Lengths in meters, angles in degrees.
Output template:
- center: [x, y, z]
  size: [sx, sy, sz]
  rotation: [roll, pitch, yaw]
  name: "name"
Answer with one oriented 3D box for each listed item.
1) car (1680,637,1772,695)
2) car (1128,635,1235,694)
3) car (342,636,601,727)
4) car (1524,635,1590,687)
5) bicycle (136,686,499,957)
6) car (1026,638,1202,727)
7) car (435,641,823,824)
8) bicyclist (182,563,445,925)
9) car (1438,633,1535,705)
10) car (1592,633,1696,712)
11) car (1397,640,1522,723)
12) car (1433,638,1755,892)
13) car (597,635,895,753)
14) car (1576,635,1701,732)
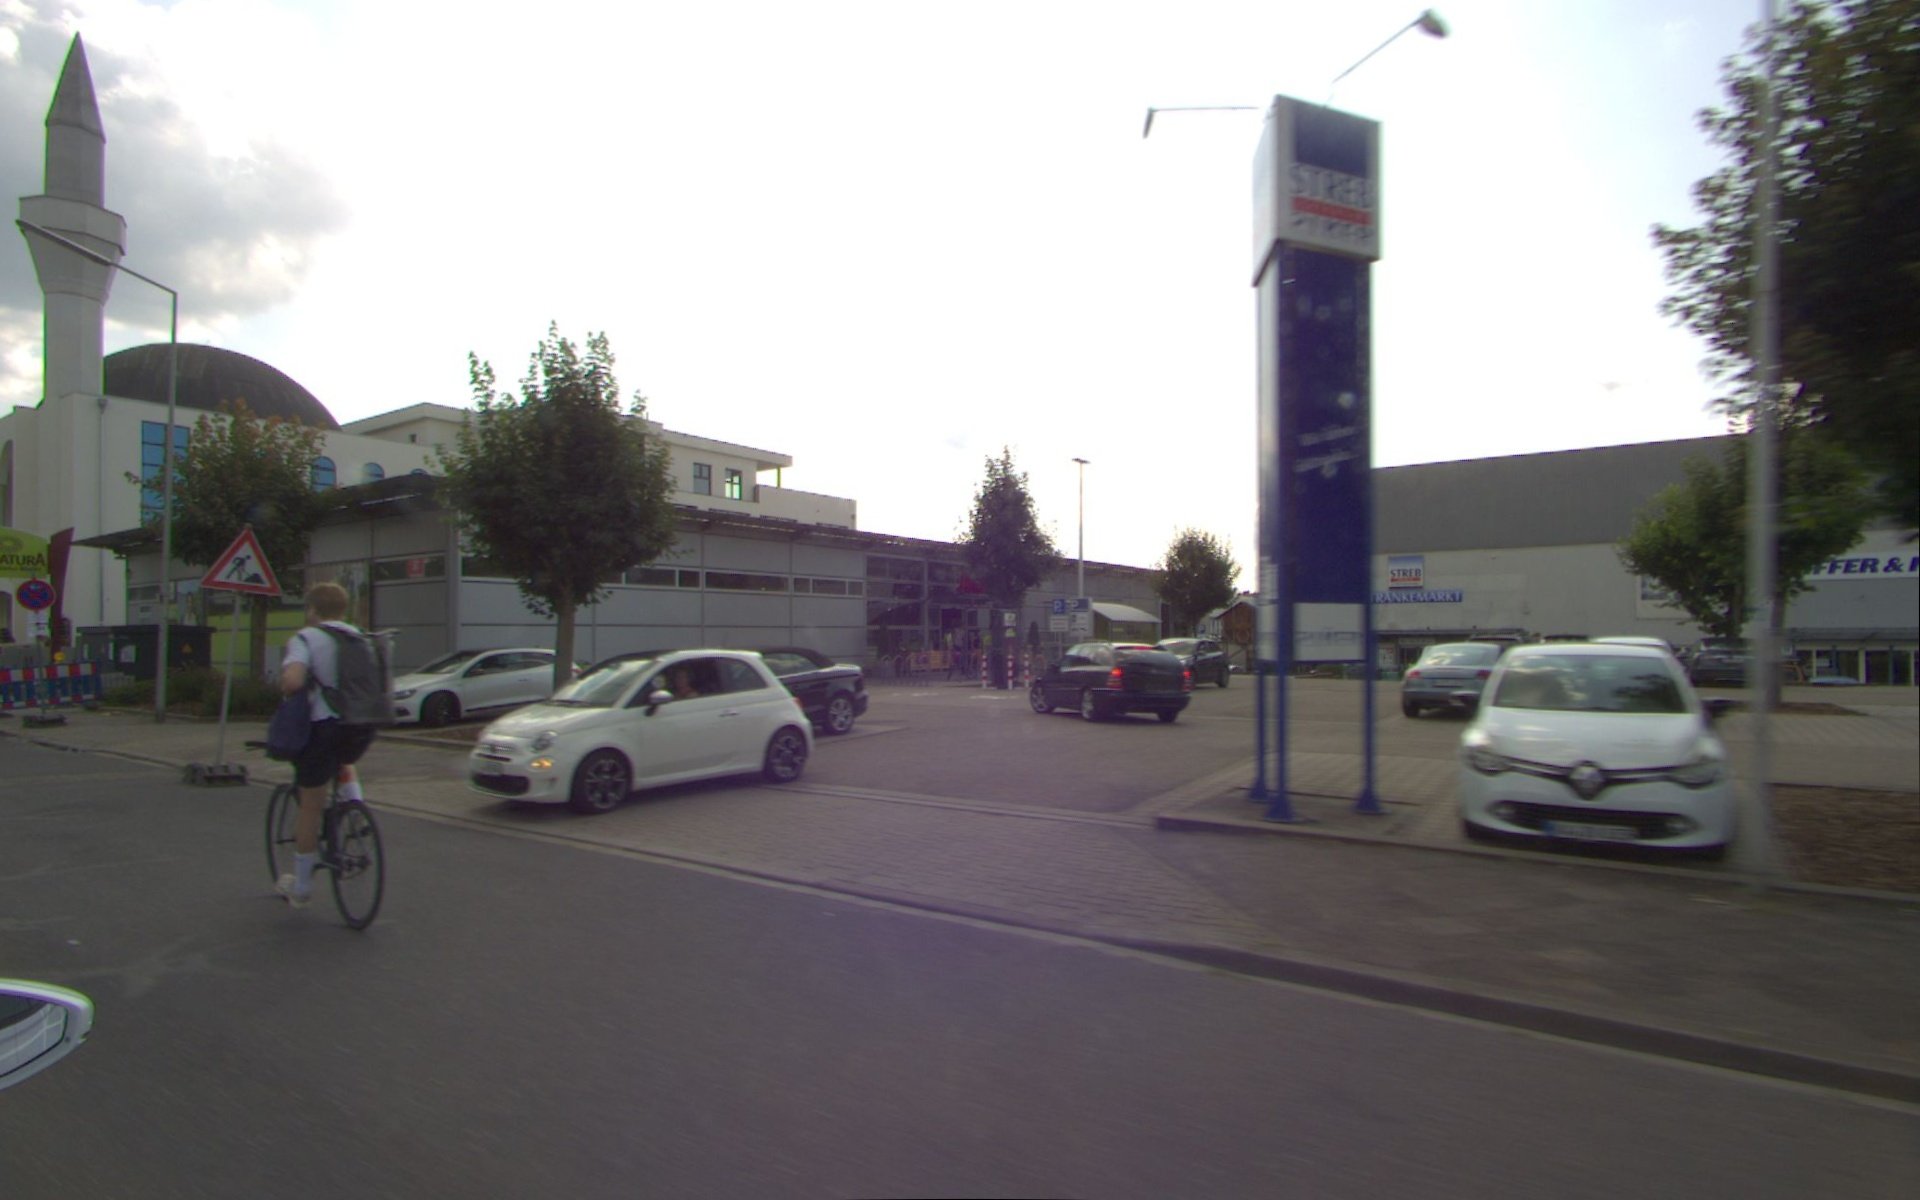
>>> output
- center: [22.139, 1.845, 29.058]
  size: [1.731, 1.503, 4.042]
  rotation: [-1, -1, 32]
  name: "car"
- center: [6.372, 1.758, 28.498]
  size: [1.700, 1.503, 4.041]
  rotation: [-1, -1, 32]
  name: "car"
- center: [-9.279, 1.473, 19.330]
  size: [1.962, 1.482, 4.095]
  rotation: [-1, -1, 32]
  name: "car"
- center: [19.146, 1.884, 32.047]
  size: [1.700, 1.503, 4.177]
  rotation: [-1, -1, 32]
  name: "car"
- center: [-3.772, 1.127, 5.770]
  size: [2.591, 1.194, 0.796]
  rotation: [-2, -4, 35]
  name: "bicycle"
- center: [2.685, 1.440, 18.602]
  size: [1.656, 1.428, 4.385]
  rotation: [0, -2, -14]
  name: "car"
- center: [-3.328, 1.226, 10.587]
  size: [1.668, 1.489, 3.586]
  rotation: [-1, -1, 39]
  name: "car"
- center: [-3.696, 0.764, 5.731]
  size: [1.191, 1.814, 0.805]
  rotation: [-2, -4, 35]
  name: "bicyclist"
- center: [12.341, 1.532, 23.368]
  size: [1.700, 1.503, 4.034]
  rotation: [-1, -1, 32]
  name: "car"
- center: [14.793, 1.499, 21.822]
  size: [1.700, 1.503, 4.110]
  rotation: [-1, -1, 32]
  name: "car"
- center: [9.777, 1.496, 19.444]
  size: [1.769, 1.355, 4.096]
  rotation: [-1, -1, 32]
  name: "car"
- center: [5.111, 1.087, 8.238]
  size: [1.771, 1.429, 3.944]
  rotation: [-1, -1, 32]
  name: "car"
- center: [-3.099, 1.297, 15.138]
  size: [1.787, 1.449, 4.158]
  rotation: [-1, -1, 42]
  name: "car"
- center: [12.267, 1.422, 18.280]
  size: [1.700, 1.503, 4.051]
  rotation: [-1, -1, 32]
  name: "car"
